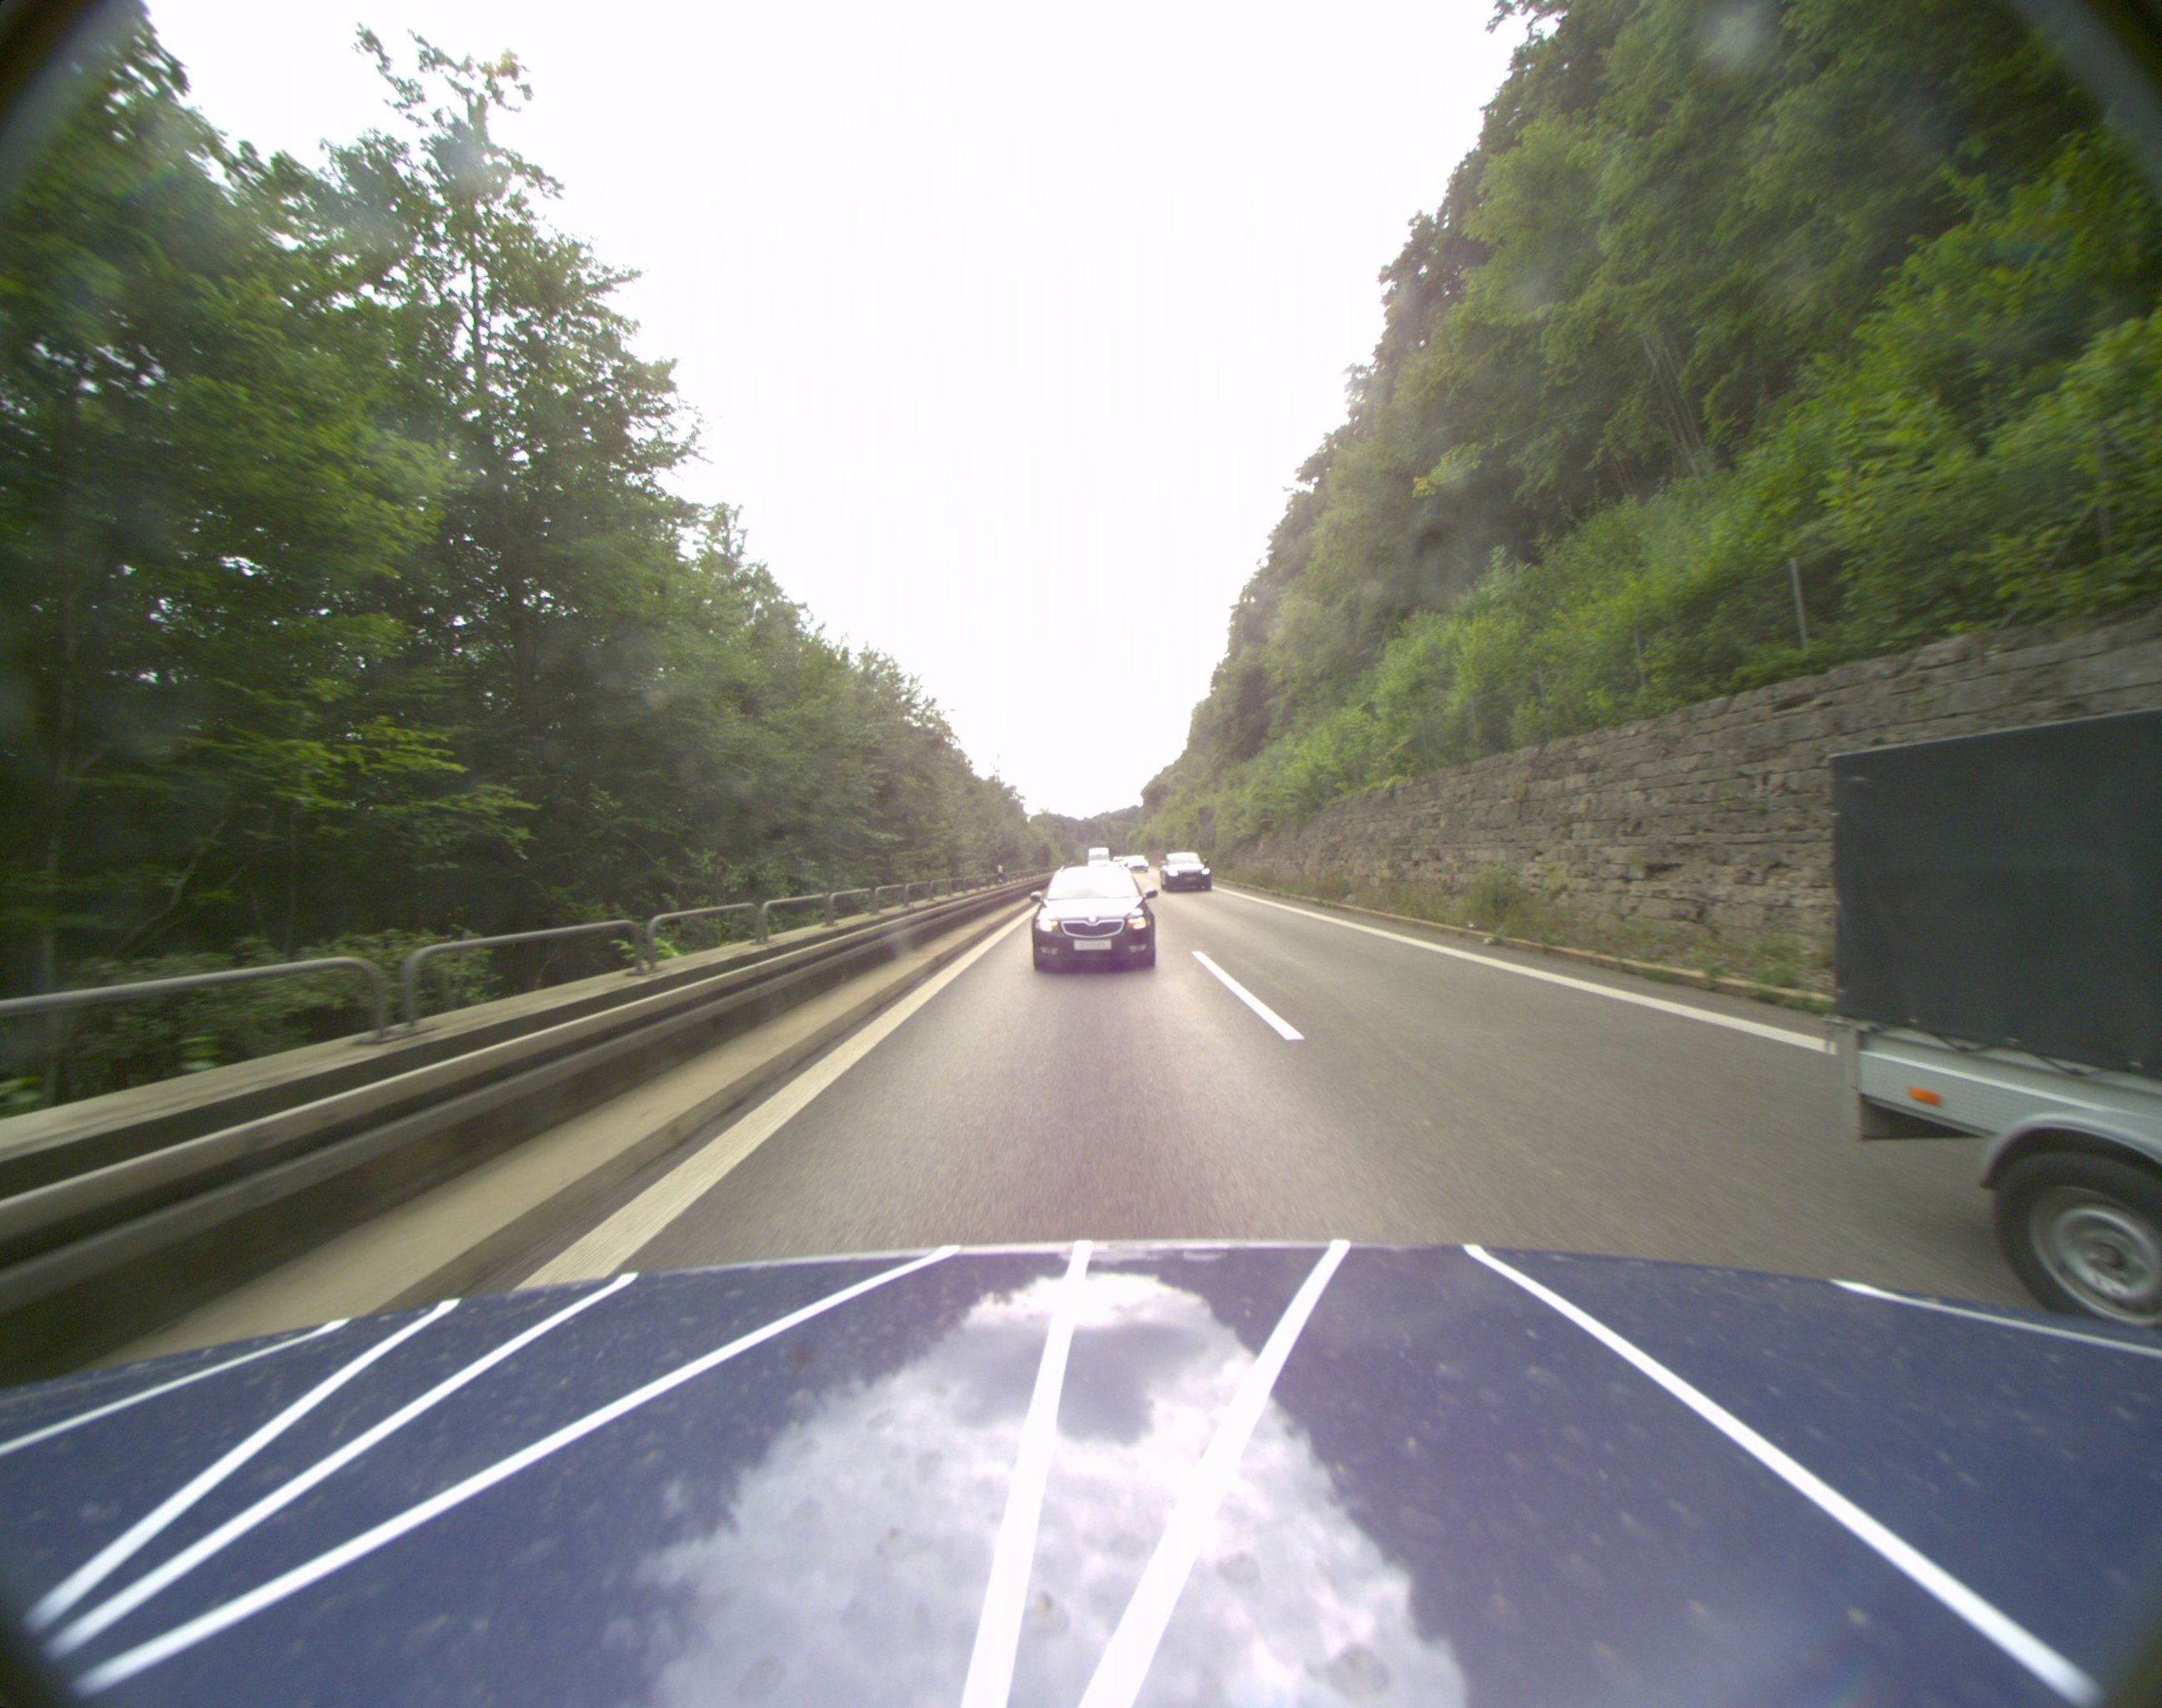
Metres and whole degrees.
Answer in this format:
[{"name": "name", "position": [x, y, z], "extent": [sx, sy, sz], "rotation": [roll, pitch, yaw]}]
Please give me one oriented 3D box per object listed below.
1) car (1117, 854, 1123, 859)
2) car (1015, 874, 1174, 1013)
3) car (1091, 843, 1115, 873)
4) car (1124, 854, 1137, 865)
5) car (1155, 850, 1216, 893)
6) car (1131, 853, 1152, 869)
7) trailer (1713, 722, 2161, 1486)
[{"name": "car", "position": [12.342, 0.903, 240.681], "extent": [1.822, 1.546, 4.002], "rotation": [-1, -1, 4]}, {"name": "car", "position": [0.192, 1.038, 10.551], "extent": [1.638, 1.384, 4.500], "rotation": [-4, -1, 1]}, {"name": "car", "position": [2.036, 0.426, 69.232], "extent": [2.099, 2.547, 5.921], "rotation": [-1, -1, 2]}, {"name": "car", "position": [7.114, 0.771, 109.294], "extent": [1.823, 1.546, 4.001], "rotation": [-1, -1, 2]}, {"name": "car", "position": [4.552, 0.725, 34.016], "extent": [1.976, 1.584, 5.585], "rotation": [-4, 1, 1]}, {"name": "car", "position": [5.865, 0.704, 74.139], "extent": [1.823, 1.546, 4.002], "rotation": [-1, -1, 3]}, {"name": "trailer", "position": [3.697, 0.604, 1.507], "extent": [1.976, 1.928, 3.430], "rotation": [-2, 0, -1]}]
